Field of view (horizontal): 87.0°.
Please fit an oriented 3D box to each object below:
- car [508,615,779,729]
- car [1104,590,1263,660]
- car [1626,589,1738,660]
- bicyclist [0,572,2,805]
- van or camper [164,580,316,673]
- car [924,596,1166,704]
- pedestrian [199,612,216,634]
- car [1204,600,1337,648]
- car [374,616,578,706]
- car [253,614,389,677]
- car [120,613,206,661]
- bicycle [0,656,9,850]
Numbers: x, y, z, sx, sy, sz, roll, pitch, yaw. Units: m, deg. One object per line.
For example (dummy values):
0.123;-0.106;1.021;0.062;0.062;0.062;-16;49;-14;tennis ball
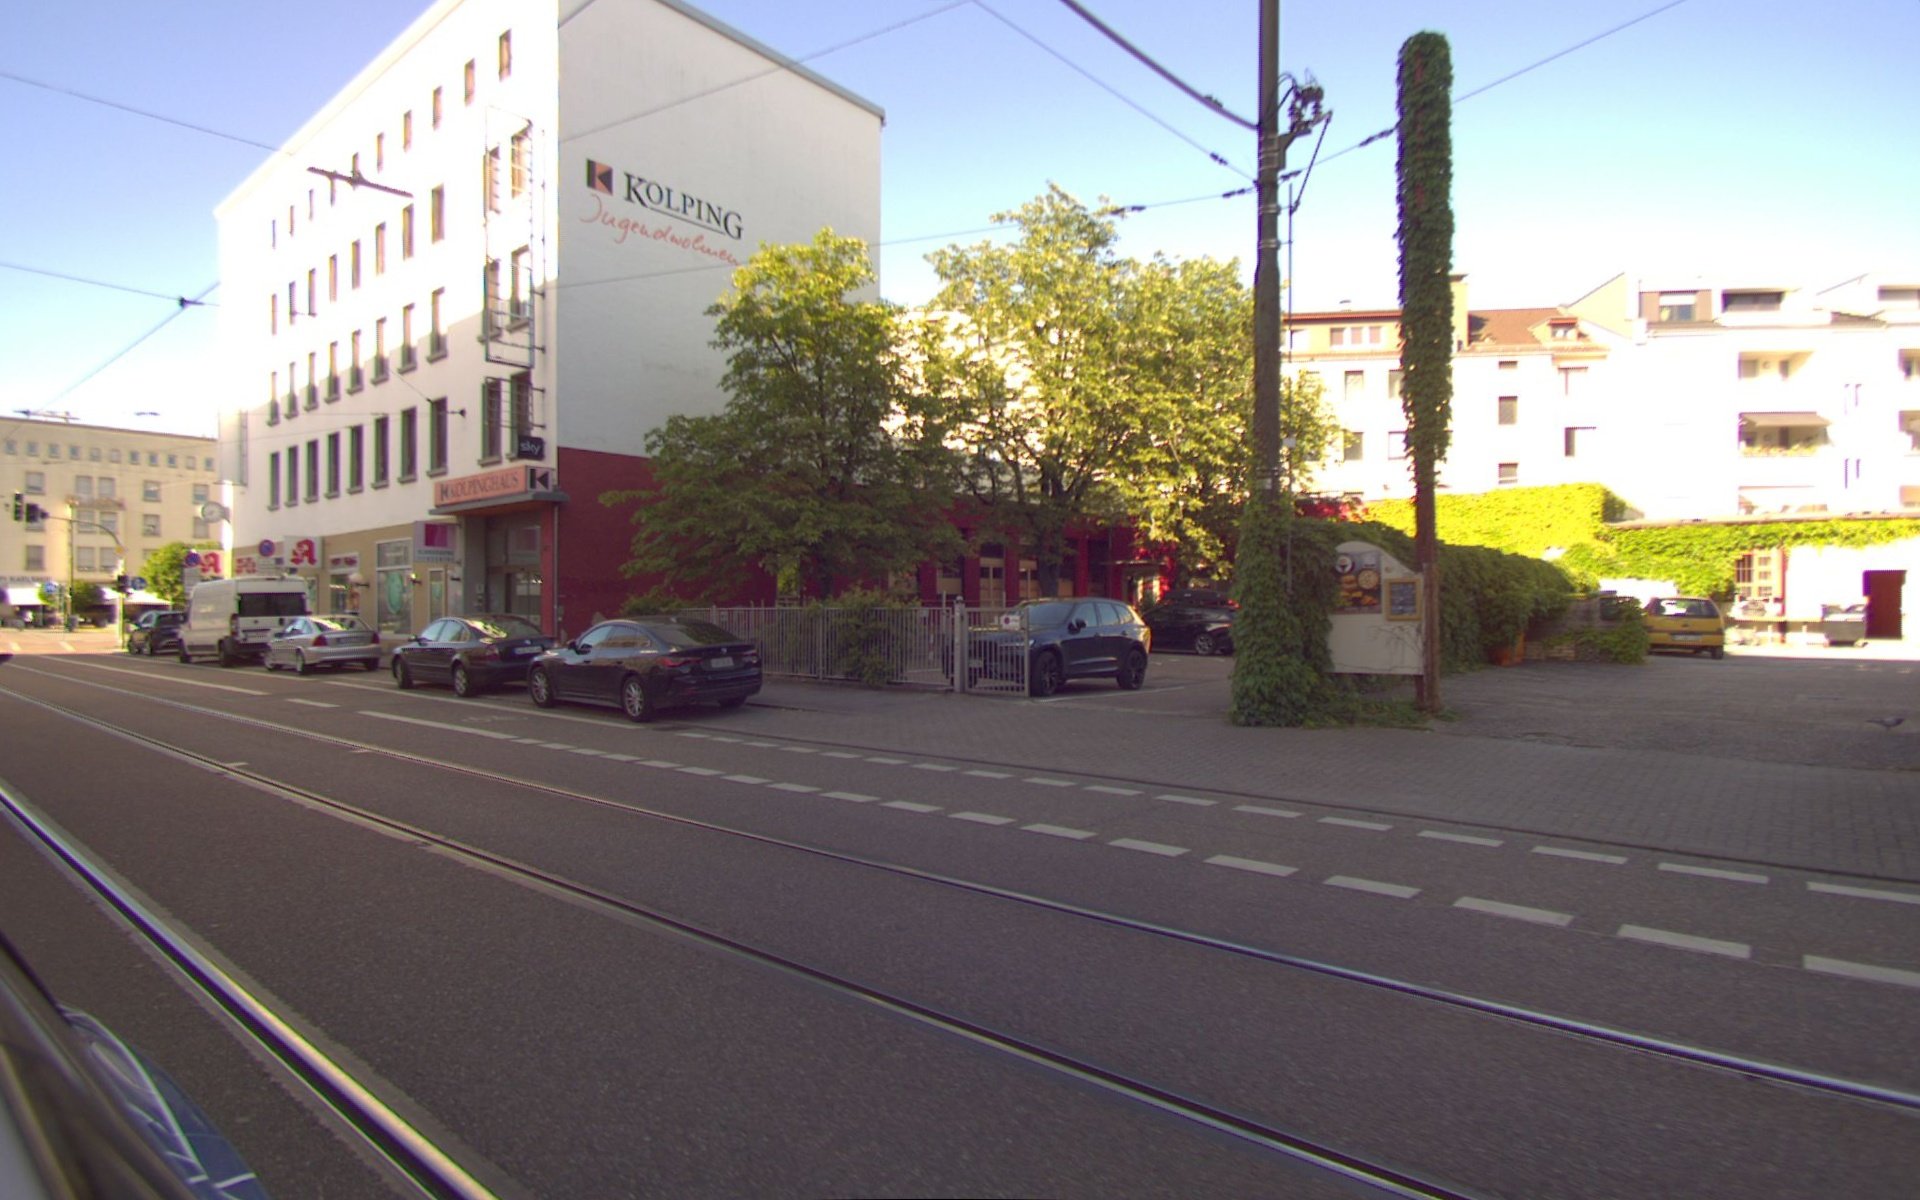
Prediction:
-5.086;1.008;15.886;4.839;1.456;1.765;-1;1;41;car
6.451;0.702;29.357;4.140;1.908;1.750;-1;-1;36;car
17.364;0.553;24.515;1.796;1.566;3.959;-1;0;30;car
-6.987;0.591;6.793;0.939;1.552;0.764;-1;-1;44;bicyclist
-21.522;0.731;30.145;6.227;2.485;2.150;-1;1;40;van or camper
1.587;0.763;17.624;2.000;1.609;4.315;-1;0;42;car
-58.416;1.754;78.585;0.829;1.708;0.666;0;-1;9;pedestrian
10.945;0.836;35.826;4.147;1.598;1.747;-1;-1;41;car
-9.457;1.084;19.586;4.696;1.492;1.765;-1;1;40;car
-16.211;1.087;25.588;4.444;1.409;1.764;-1;1;42;car
-28.879;1.295;36.649;3.991;1.564;1.764;-1;1;42;car
-6.956;0.985;6.765;1.752;1.208;0.757;-1;-1;43;bicycle
